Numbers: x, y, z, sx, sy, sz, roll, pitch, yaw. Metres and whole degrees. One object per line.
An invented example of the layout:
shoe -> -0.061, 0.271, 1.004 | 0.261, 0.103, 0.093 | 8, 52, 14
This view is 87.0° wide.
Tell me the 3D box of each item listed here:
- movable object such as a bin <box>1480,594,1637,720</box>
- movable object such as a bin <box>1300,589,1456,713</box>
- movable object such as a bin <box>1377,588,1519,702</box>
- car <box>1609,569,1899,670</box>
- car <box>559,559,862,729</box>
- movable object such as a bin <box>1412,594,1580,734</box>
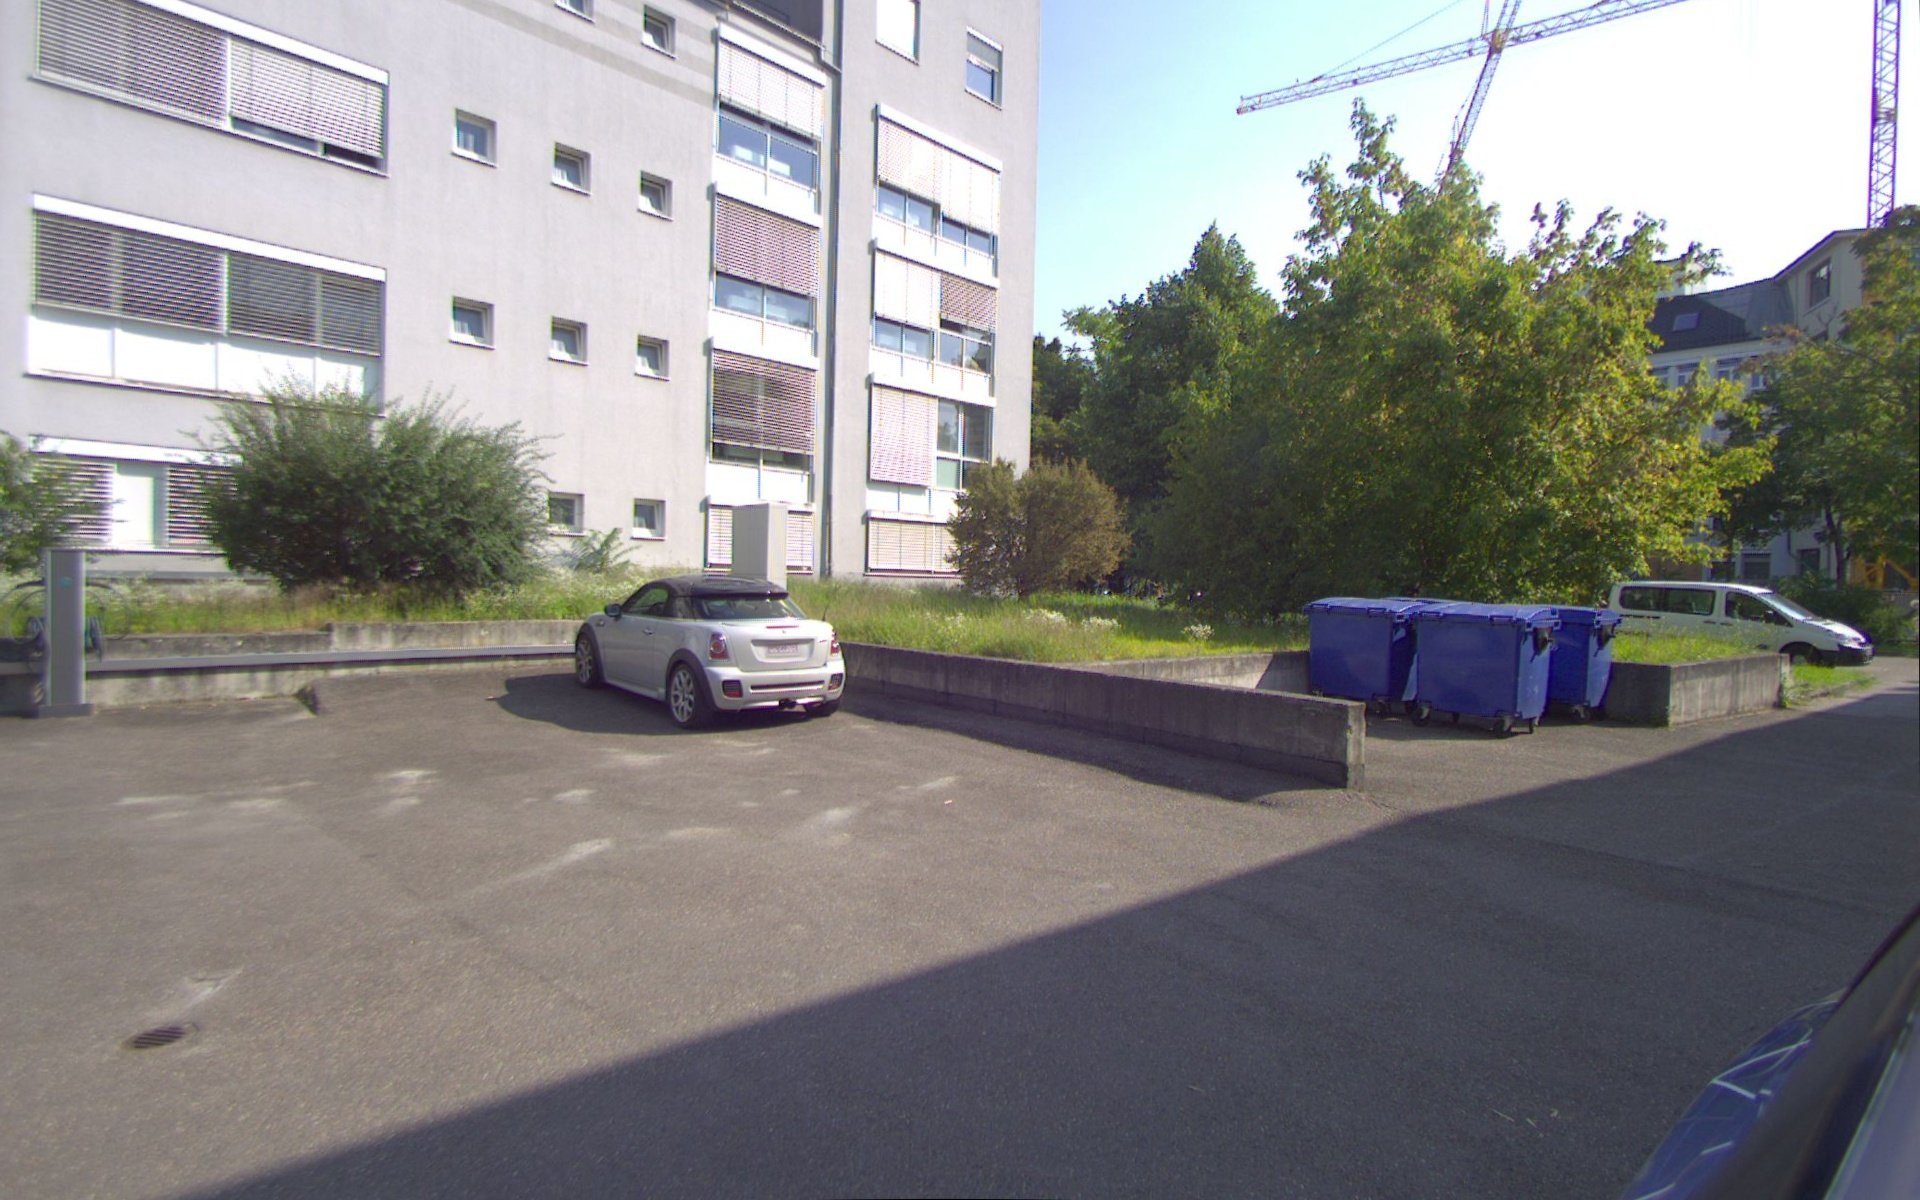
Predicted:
movable object such as a bin -> 7.028, 0.618, 11.894 | 1.252, 1.344, 1.200 | 1, 1, -39
movable object such as a bin -> 4.971, 0.560, 12.055 | 1.252, 1.344, 1.257 | 1, 1, -39
movable object such as a bin -> 6.268, 0.540, 13.006 | 1.252, 1.344, 1.200 | 1, 1, -39
car -> 17.722, 0.354, 22.834 | 1.873, 1.955, 4.793 | 1, 2, -37
car -> -2.773, 0.336, 10.758 | 1.630, 1.455, 3.576 | 1, 2, -42
movable object such as a bin -> 5.796, 0.638, 10.959 | 1.253, 1.368, 1.213 | 1, 1, -41
